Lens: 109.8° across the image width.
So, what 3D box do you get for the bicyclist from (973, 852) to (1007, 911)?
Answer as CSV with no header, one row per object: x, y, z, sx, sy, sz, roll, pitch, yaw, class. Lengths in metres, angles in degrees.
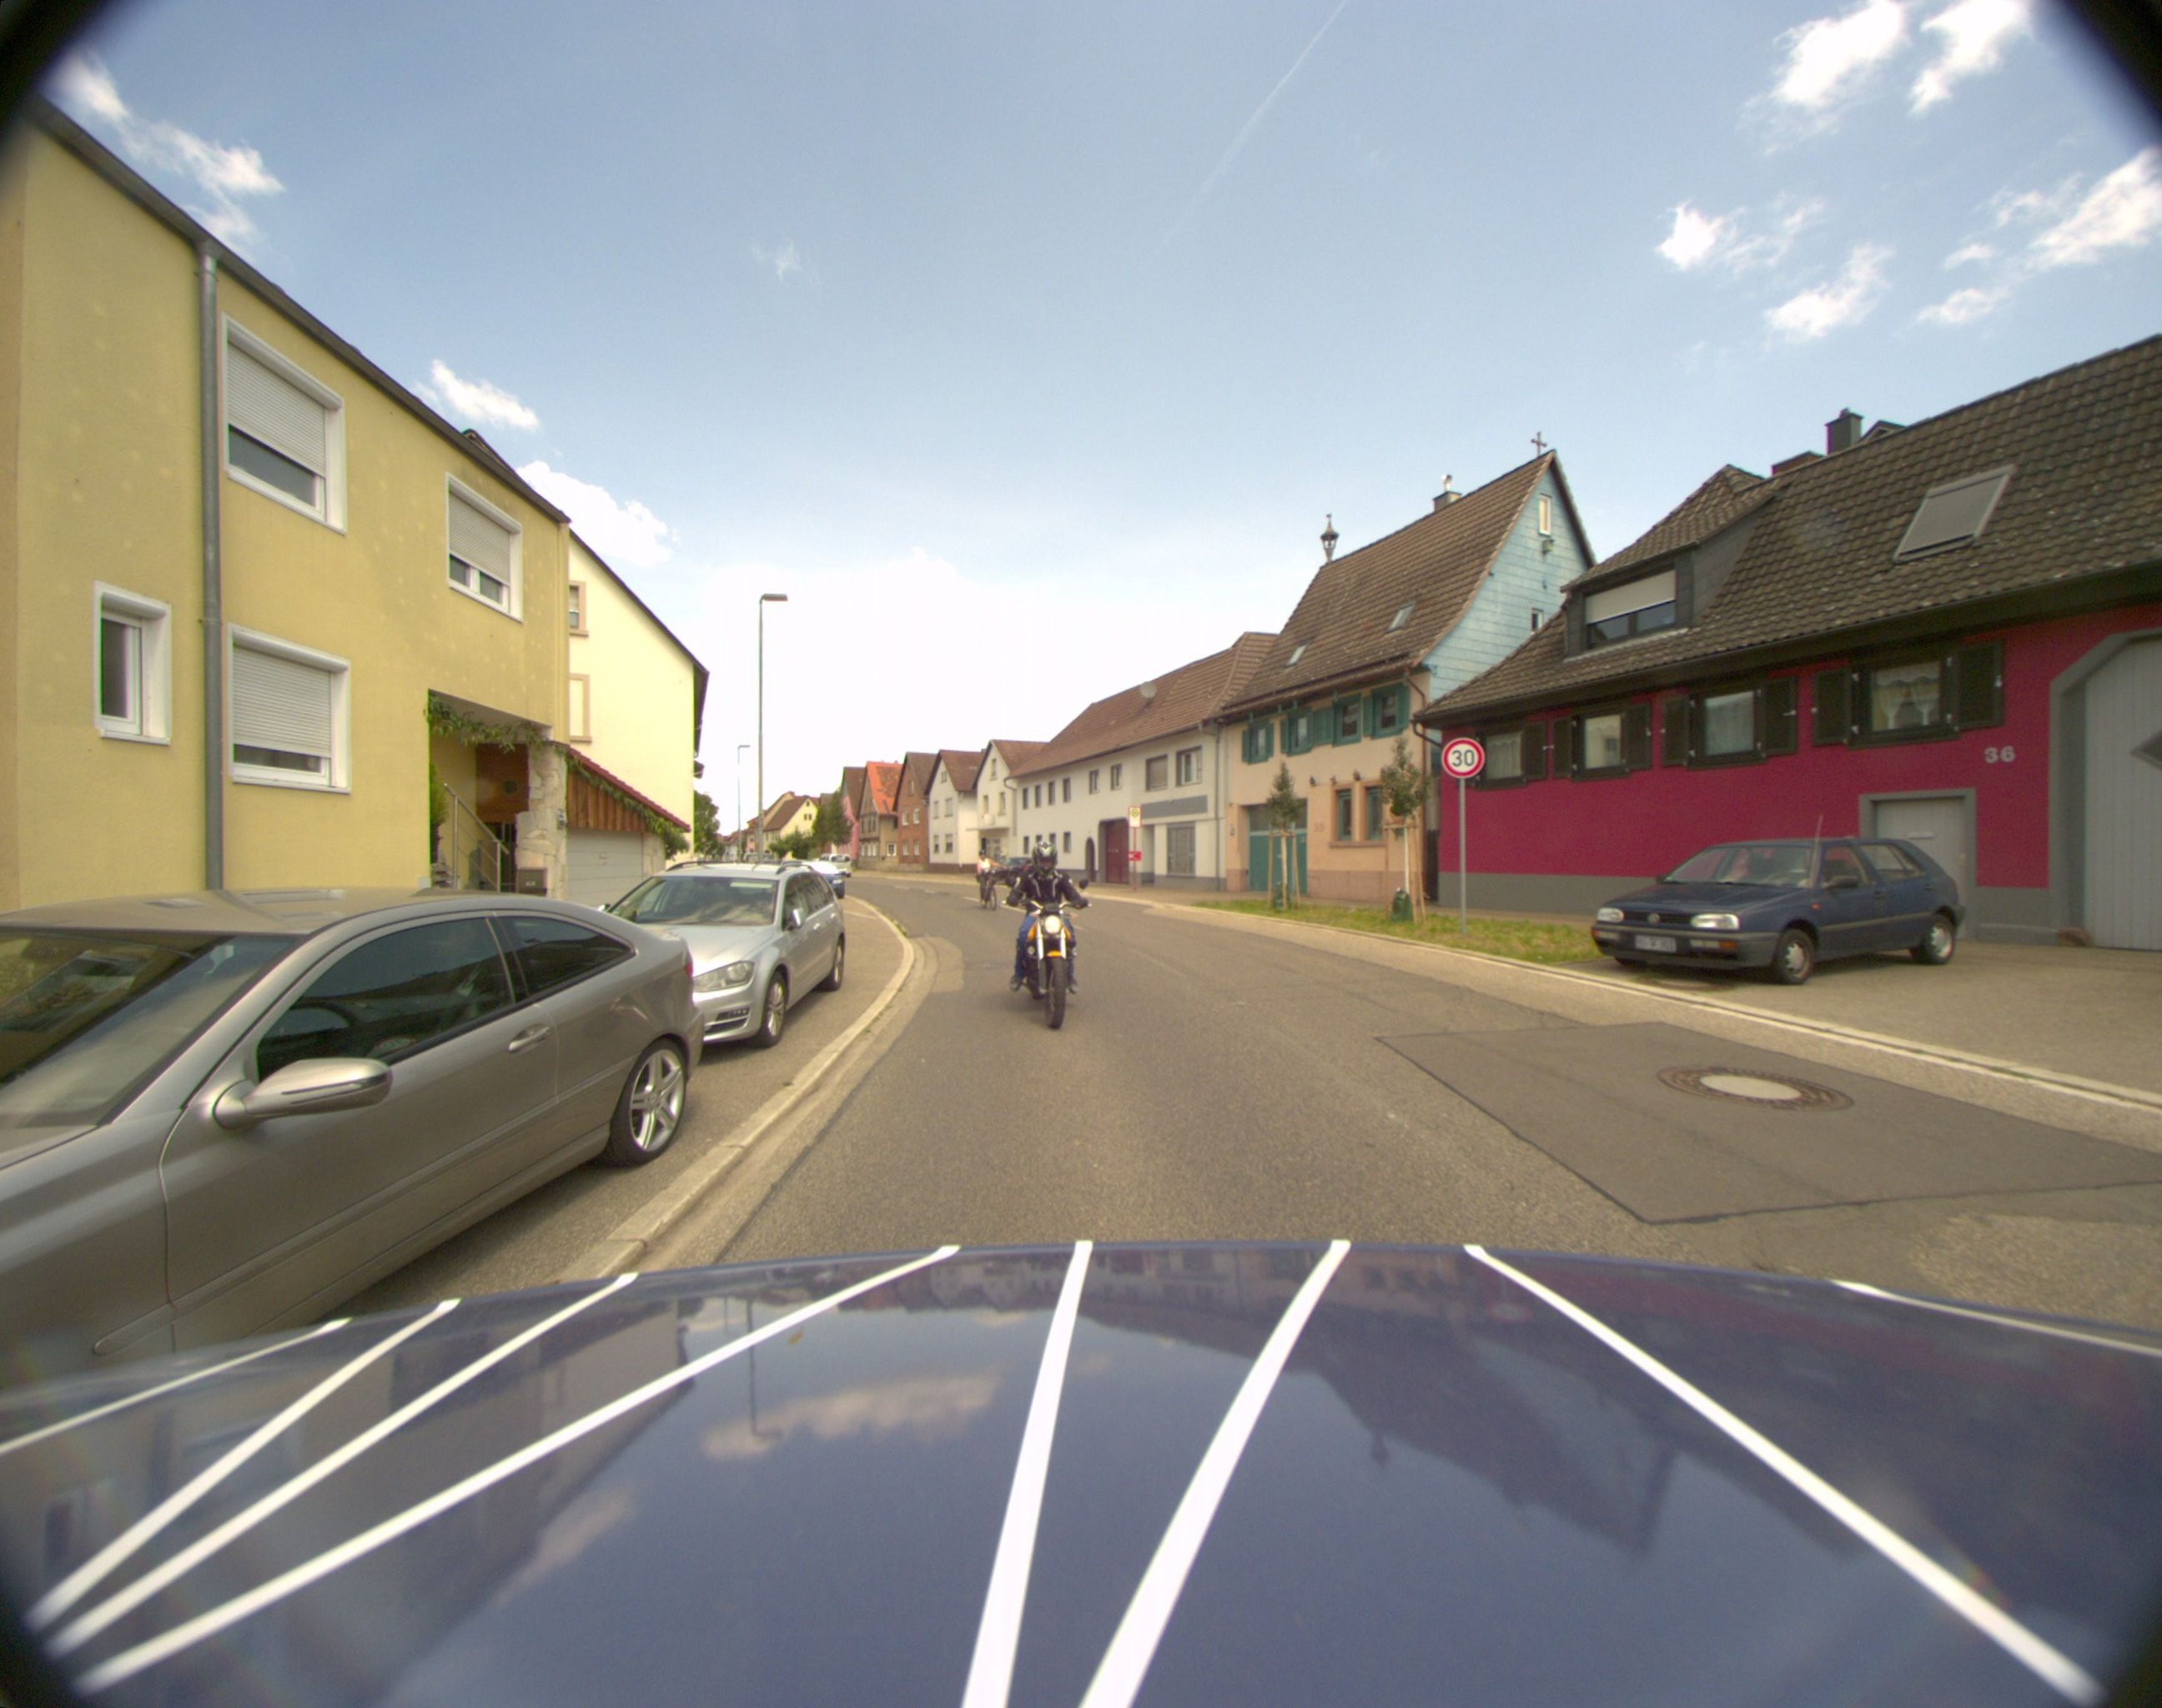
-2.716,0.803,22.551,0.910,1.679,0.760,-2,2,-10,bicyclist

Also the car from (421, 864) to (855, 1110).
-3.541,0.918,7.173,1.890,1.521,4.333,2,0,-6,car

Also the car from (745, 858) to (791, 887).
-18.928,1.098,45.888,1.669,1.638,3.989,-3,1,-35,car

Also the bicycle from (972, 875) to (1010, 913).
-2.673,1.147,22.373,0.934,1.005,1.923,-2,0,-11,bicycle

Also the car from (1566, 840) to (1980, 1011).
7.603,0.634,8.382,3.983,1.456,1.718,-2,1,-20,car

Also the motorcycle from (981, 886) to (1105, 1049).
-0.304,0.998,7.428,0.985,1.234,2.103,-3,0,1,motorcycle

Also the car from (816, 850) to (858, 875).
-19.243,0.655,59.813,2.003,1.790,4.923,-3,2,-32,car

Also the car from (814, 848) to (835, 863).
-27.362,0.159,81.000,1.687,1.521,3.491,-2,2,-26,car

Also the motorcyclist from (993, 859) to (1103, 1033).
-0.301,0.868,7.532,1.000,1.591,0.799,-1,2,1,motorcyclist

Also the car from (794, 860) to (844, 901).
-10.361,0.984,29.974,1.730,1.378,3.992,0,1,-20,car

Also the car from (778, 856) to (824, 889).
-13.811,0.921,37.374,1.776,1.520,3.993,-1,-2,-25,car

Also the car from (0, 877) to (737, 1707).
-2.956,0.911,2.312,1.774,1.392,4.423,2,1,0,car

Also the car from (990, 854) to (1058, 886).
-2.918,0.769,37.852,1.812,1.412,4.541,-2,0,-26,car
